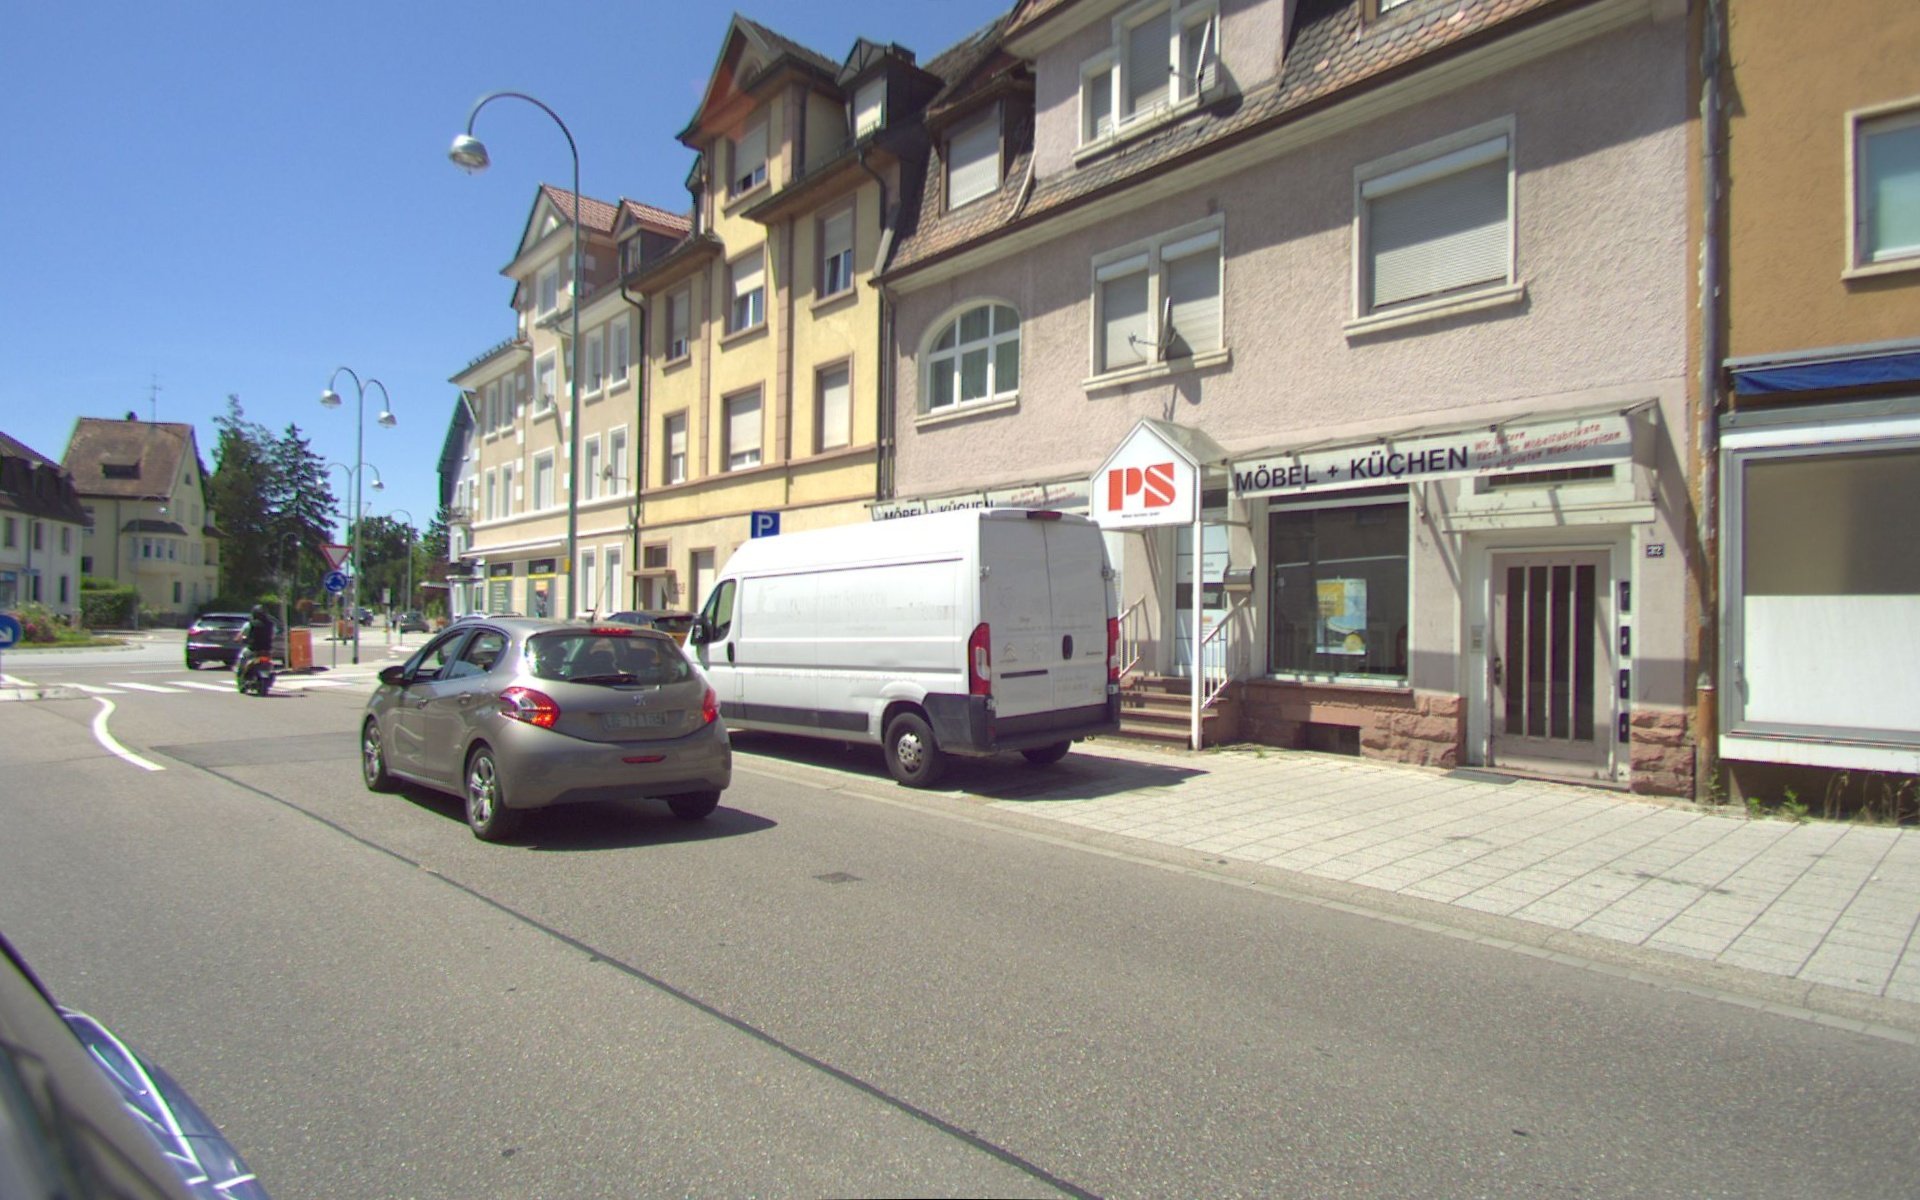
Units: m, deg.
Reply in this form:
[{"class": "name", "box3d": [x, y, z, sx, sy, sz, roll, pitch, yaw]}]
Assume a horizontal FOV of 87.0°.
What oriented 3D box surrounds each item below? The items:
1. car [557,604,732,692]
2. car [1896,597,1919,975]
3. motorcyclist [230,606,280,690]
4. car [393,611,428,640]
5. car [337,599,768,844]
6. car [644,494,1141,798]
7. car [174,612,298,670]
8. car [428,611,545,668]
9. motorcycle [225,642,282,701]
[{"class": "car", "box3d": [-6.338, 0.881, 20.059, 1.773, 1.553, 4.120, 0, -1, -42]}, {"class": "car", "box3d": [6.451, 0.747, 2.983, 2.058, 1.627, 5.119, 0, -1, -37]}, {"class": "motorcyclist", "box3d": [-13.244, 0.892, 19.005, 0.594, 1.536, 0.896, 2, -2, -44]}, {"class": "car", "box3d": [-39.399, 1.793, 72.591, 1.965, 1.861, 4.014, 1, 1, -25]}, {"class": "car", "box3d": [-3.366, 0.797, 7.940, 1.711, 1.422, 4.003, 4, -4, -44]}, {"class": "car", "box3d": [-1.127, 0.400, 11.197, 2.094, 2.468, 6.124, -1, 0, -43]}, {"class": "car", "box3d": [-20.811, 1.137, 29.286, 1.770, 1.500, 4.404, 2, -2, -20]}, {"class": "car", "box3d": [-13.917, 1.112, 29.573, 1.772, 1.514, 4.953, 1, -1, -41]}, {"class": "motorcycle", "box3d": [-13.324, 1.324, 19.069, 0.599, 1.008, 1.801, 2, -2, -43]}]
